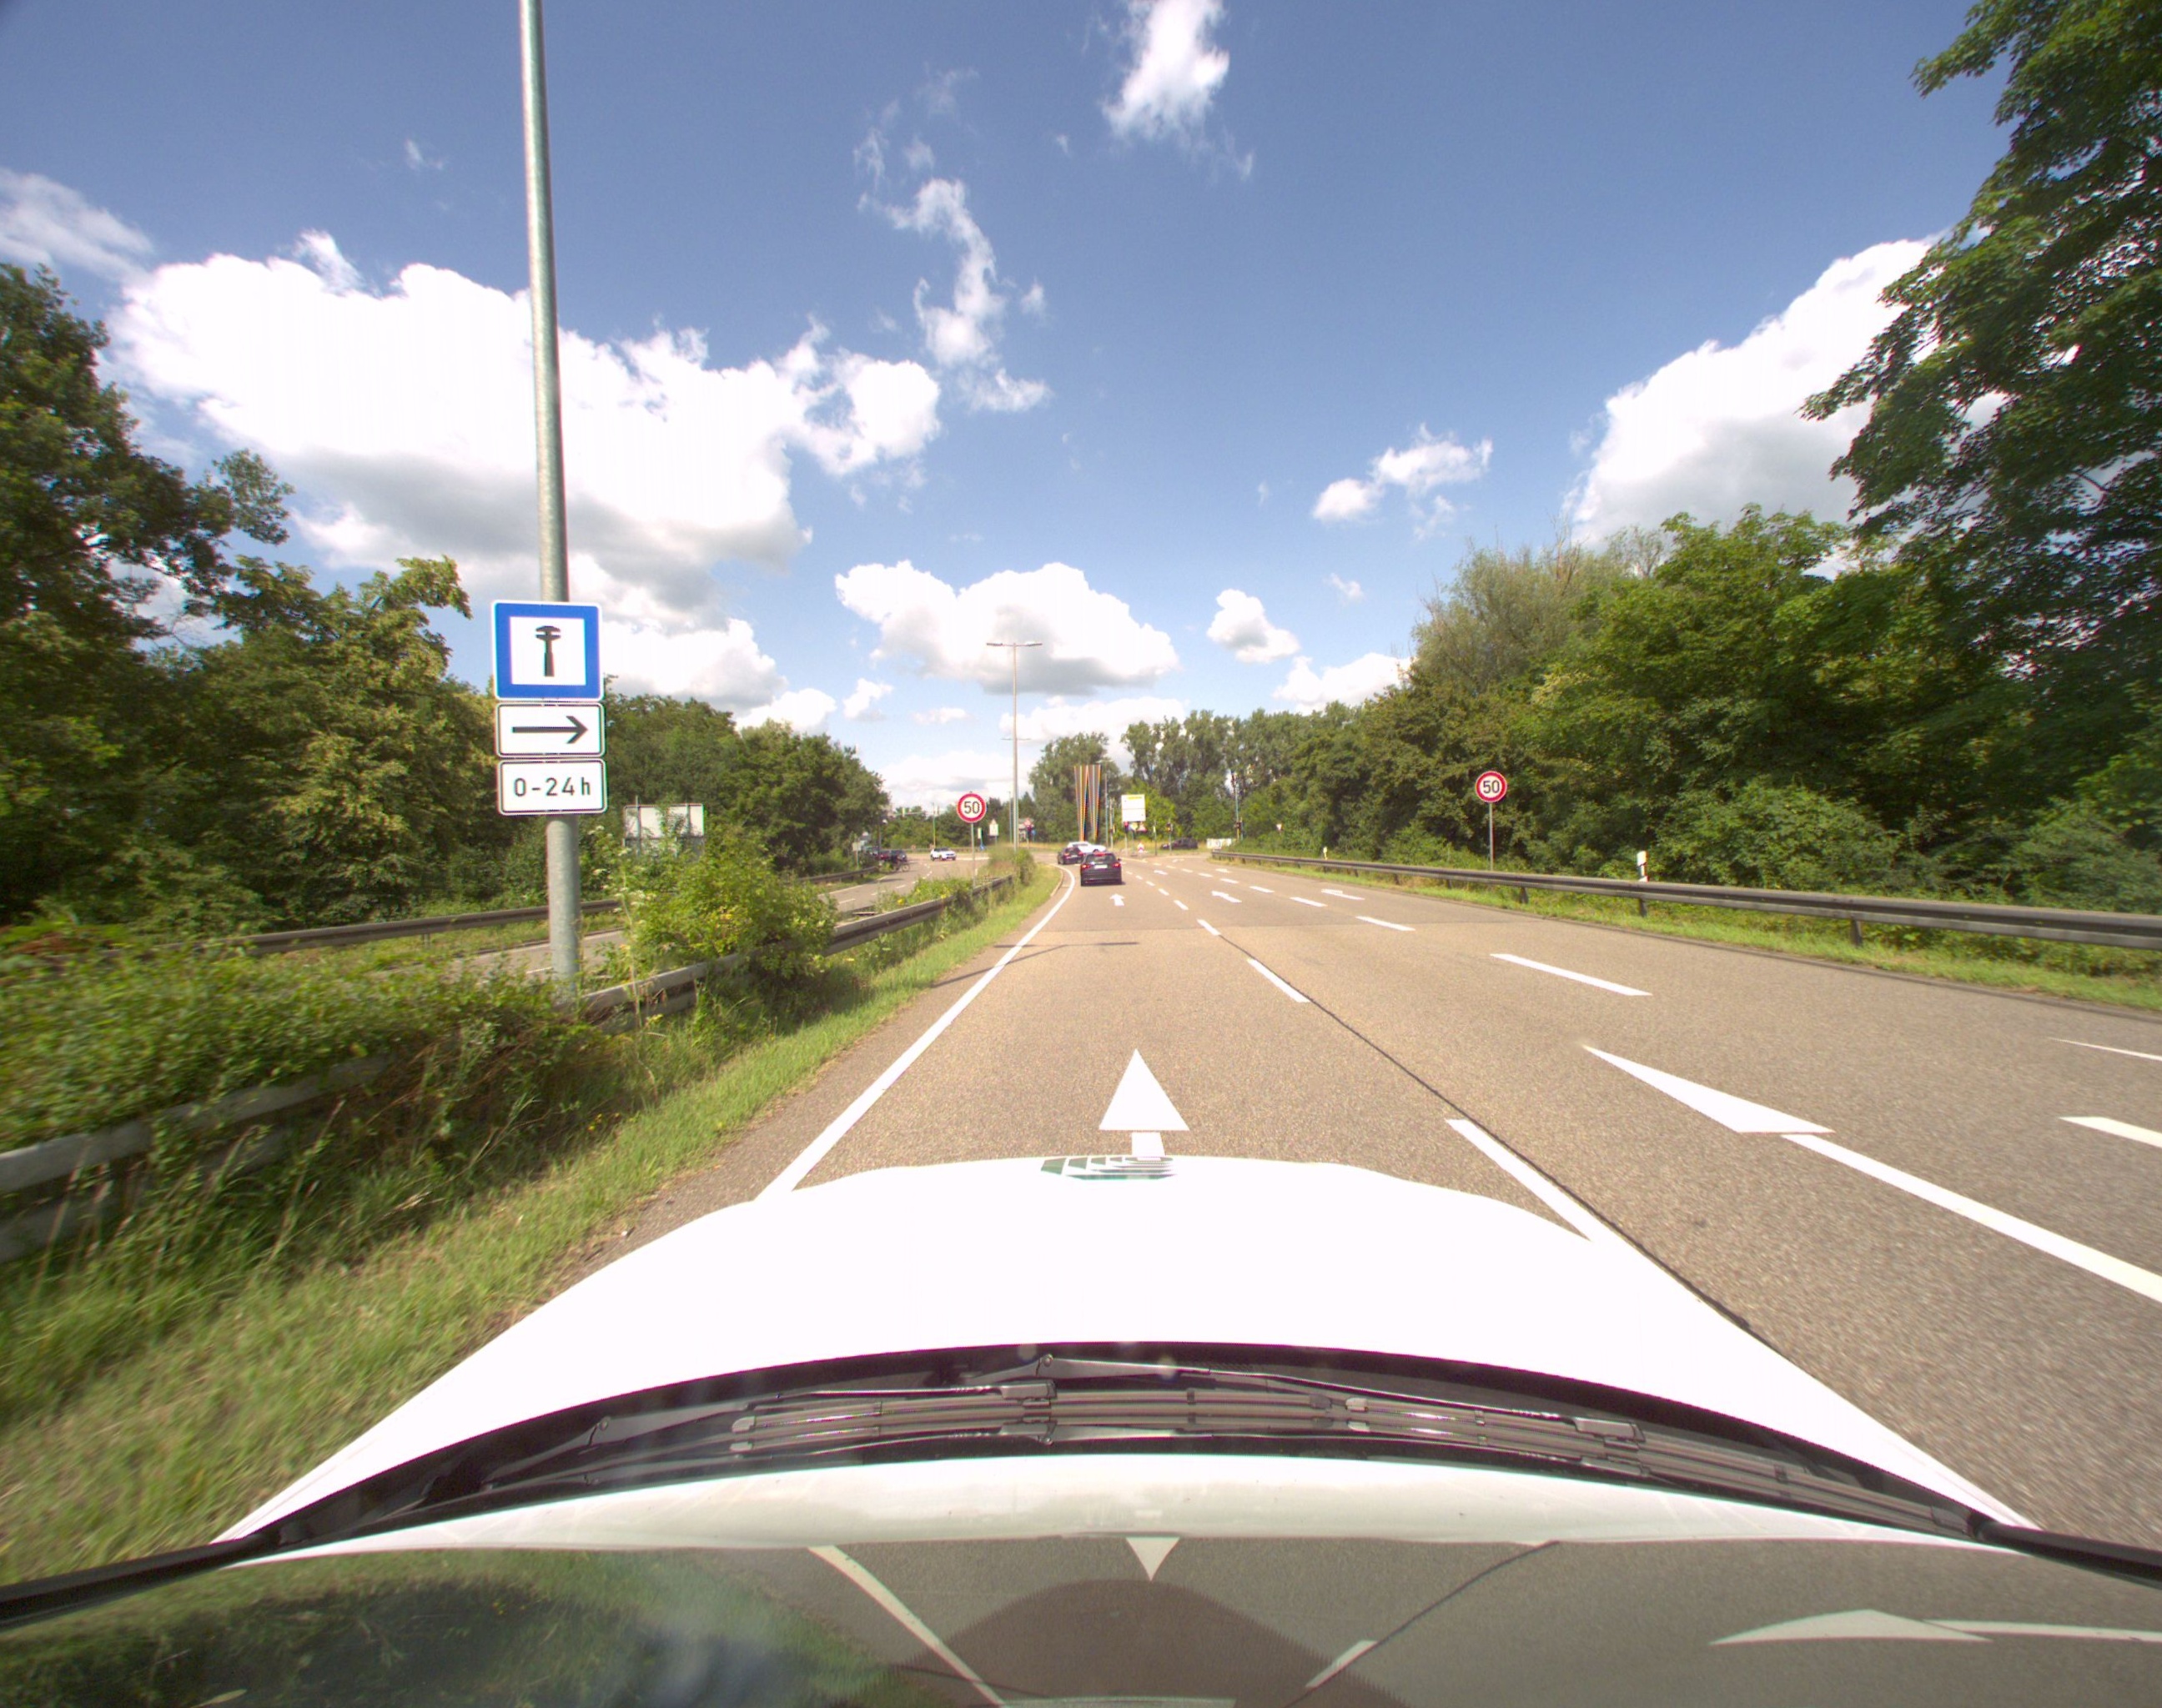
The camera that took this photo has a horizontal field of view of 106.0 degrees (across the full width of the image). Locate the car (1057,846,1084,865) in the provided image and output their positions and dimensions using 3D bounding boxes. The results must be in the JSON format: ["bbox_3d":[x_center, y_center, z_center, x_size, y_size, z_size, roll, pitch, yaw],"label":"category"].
[{"bbox_3d":[-0.894,0.109,68.833,1.725,1.423,3.834,-5,1,-8],"label":"car"}]

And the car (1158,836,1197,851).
[{"bbox_3d":[11.165,-1.217,94.386,4.261,1.545,1.734,-3,1,-5],"label":"car"}]

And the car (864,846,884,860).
[{"bbox_3d":[-28.330,-0.166,111.146,1.852,1.801,4.291,-3,1,-25],"label":"car"}]

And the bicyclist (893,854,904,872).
[{"bbox_3d":[-16.039,0.761,71.597,0.837,1.560,0.668,-2,0,-19],"label":"bicyclist"}]

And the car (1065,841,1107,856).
[{"bbox_3d":[0.539,-0.544,85.999,3.998,1.509,1.963,-1,-1,11],"label":"car"}]

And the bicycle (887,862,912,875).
[{"bbox_3d":[-15.964,1.236,71.619,2.059,1.023,0.668,-3,0,-20],"label":"bicycle"}]

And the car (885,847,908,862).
[{"bbox_3d":[-22.113,0.093,97.721,1.848,1.618,3.967,-3,0,-24],"label":"car"}]

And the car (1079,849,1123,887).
[{"bbox_3d":[0.812,0.564,34.943,1.721,1.404,3.999,-2,1,-1],"label":"car"}]

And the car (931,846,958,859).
[{"bbox_3d":[-15.929,-0.230,95.082,1.743,1.476,4.007,-1,1,-31],"label":"car"}]

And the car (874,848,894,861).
[{"bbox_3d":[-25.375,0.058,105.041,1.740,1.476,4.014,-3,1,-25],"label":"car"}]
